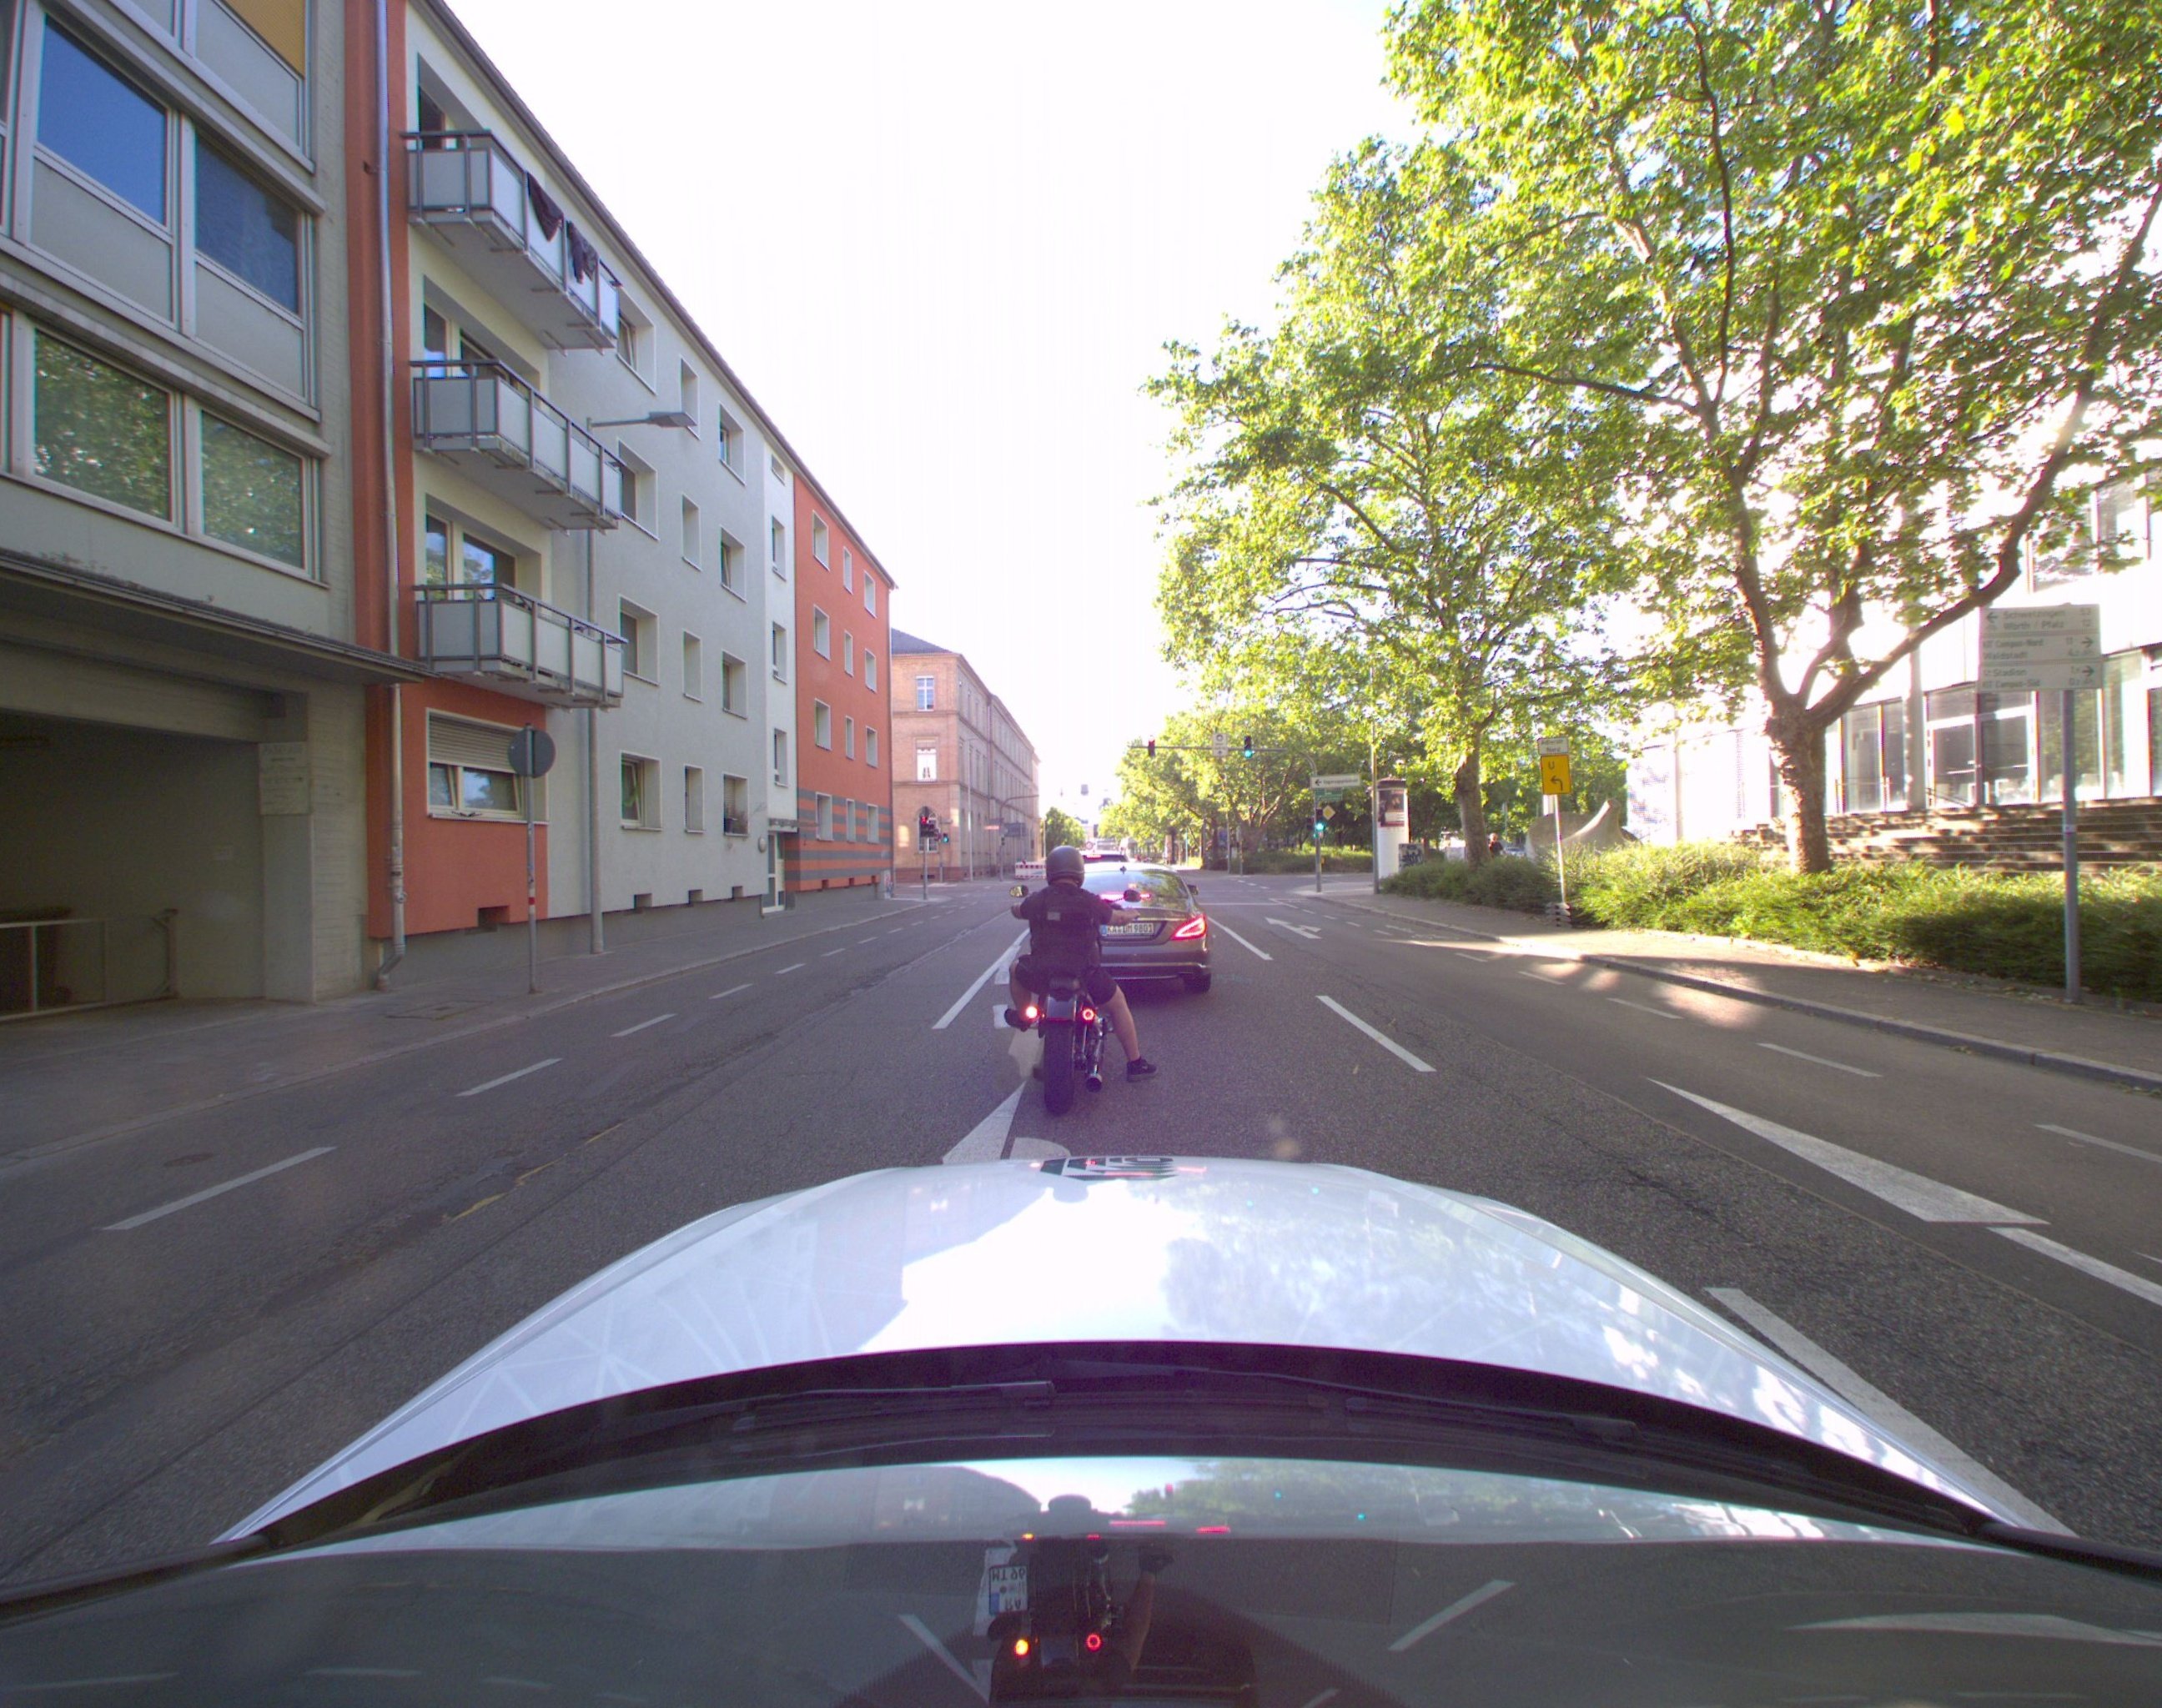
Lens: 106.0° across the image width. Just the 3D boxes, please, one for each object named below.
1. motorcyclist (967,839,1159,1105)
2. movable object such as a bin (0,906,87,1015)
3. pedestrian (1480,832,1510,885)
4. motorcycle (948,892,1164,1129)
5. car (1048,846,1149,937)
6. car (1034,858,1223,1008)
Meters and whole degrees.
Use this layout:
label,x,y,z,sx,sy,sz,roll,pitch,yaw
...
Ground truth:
label,x,y,z,sx,sy,sz,roll,pitch,yaw
motorcyclist,-0.067,0.702,5.406,1.093,1.566,1.074,0,-1,8
movable object such as a bin,-11.282,1.113,8.649,0.533,1.079,0.723,0,-1,3
pedestrian,14.283,0.162,28.121,0.731,1.778,0.731,-1,-1,10
motorcycle,-0.039,0.910,5.624,1.111,1.207,2.217,0,-1,8
car,0.384,0.710,17.070,1.856,1.678,4.001,0,-1,2
car,0.523,0.778,9.781,1.815,1.437,3.807,0,-1,2
